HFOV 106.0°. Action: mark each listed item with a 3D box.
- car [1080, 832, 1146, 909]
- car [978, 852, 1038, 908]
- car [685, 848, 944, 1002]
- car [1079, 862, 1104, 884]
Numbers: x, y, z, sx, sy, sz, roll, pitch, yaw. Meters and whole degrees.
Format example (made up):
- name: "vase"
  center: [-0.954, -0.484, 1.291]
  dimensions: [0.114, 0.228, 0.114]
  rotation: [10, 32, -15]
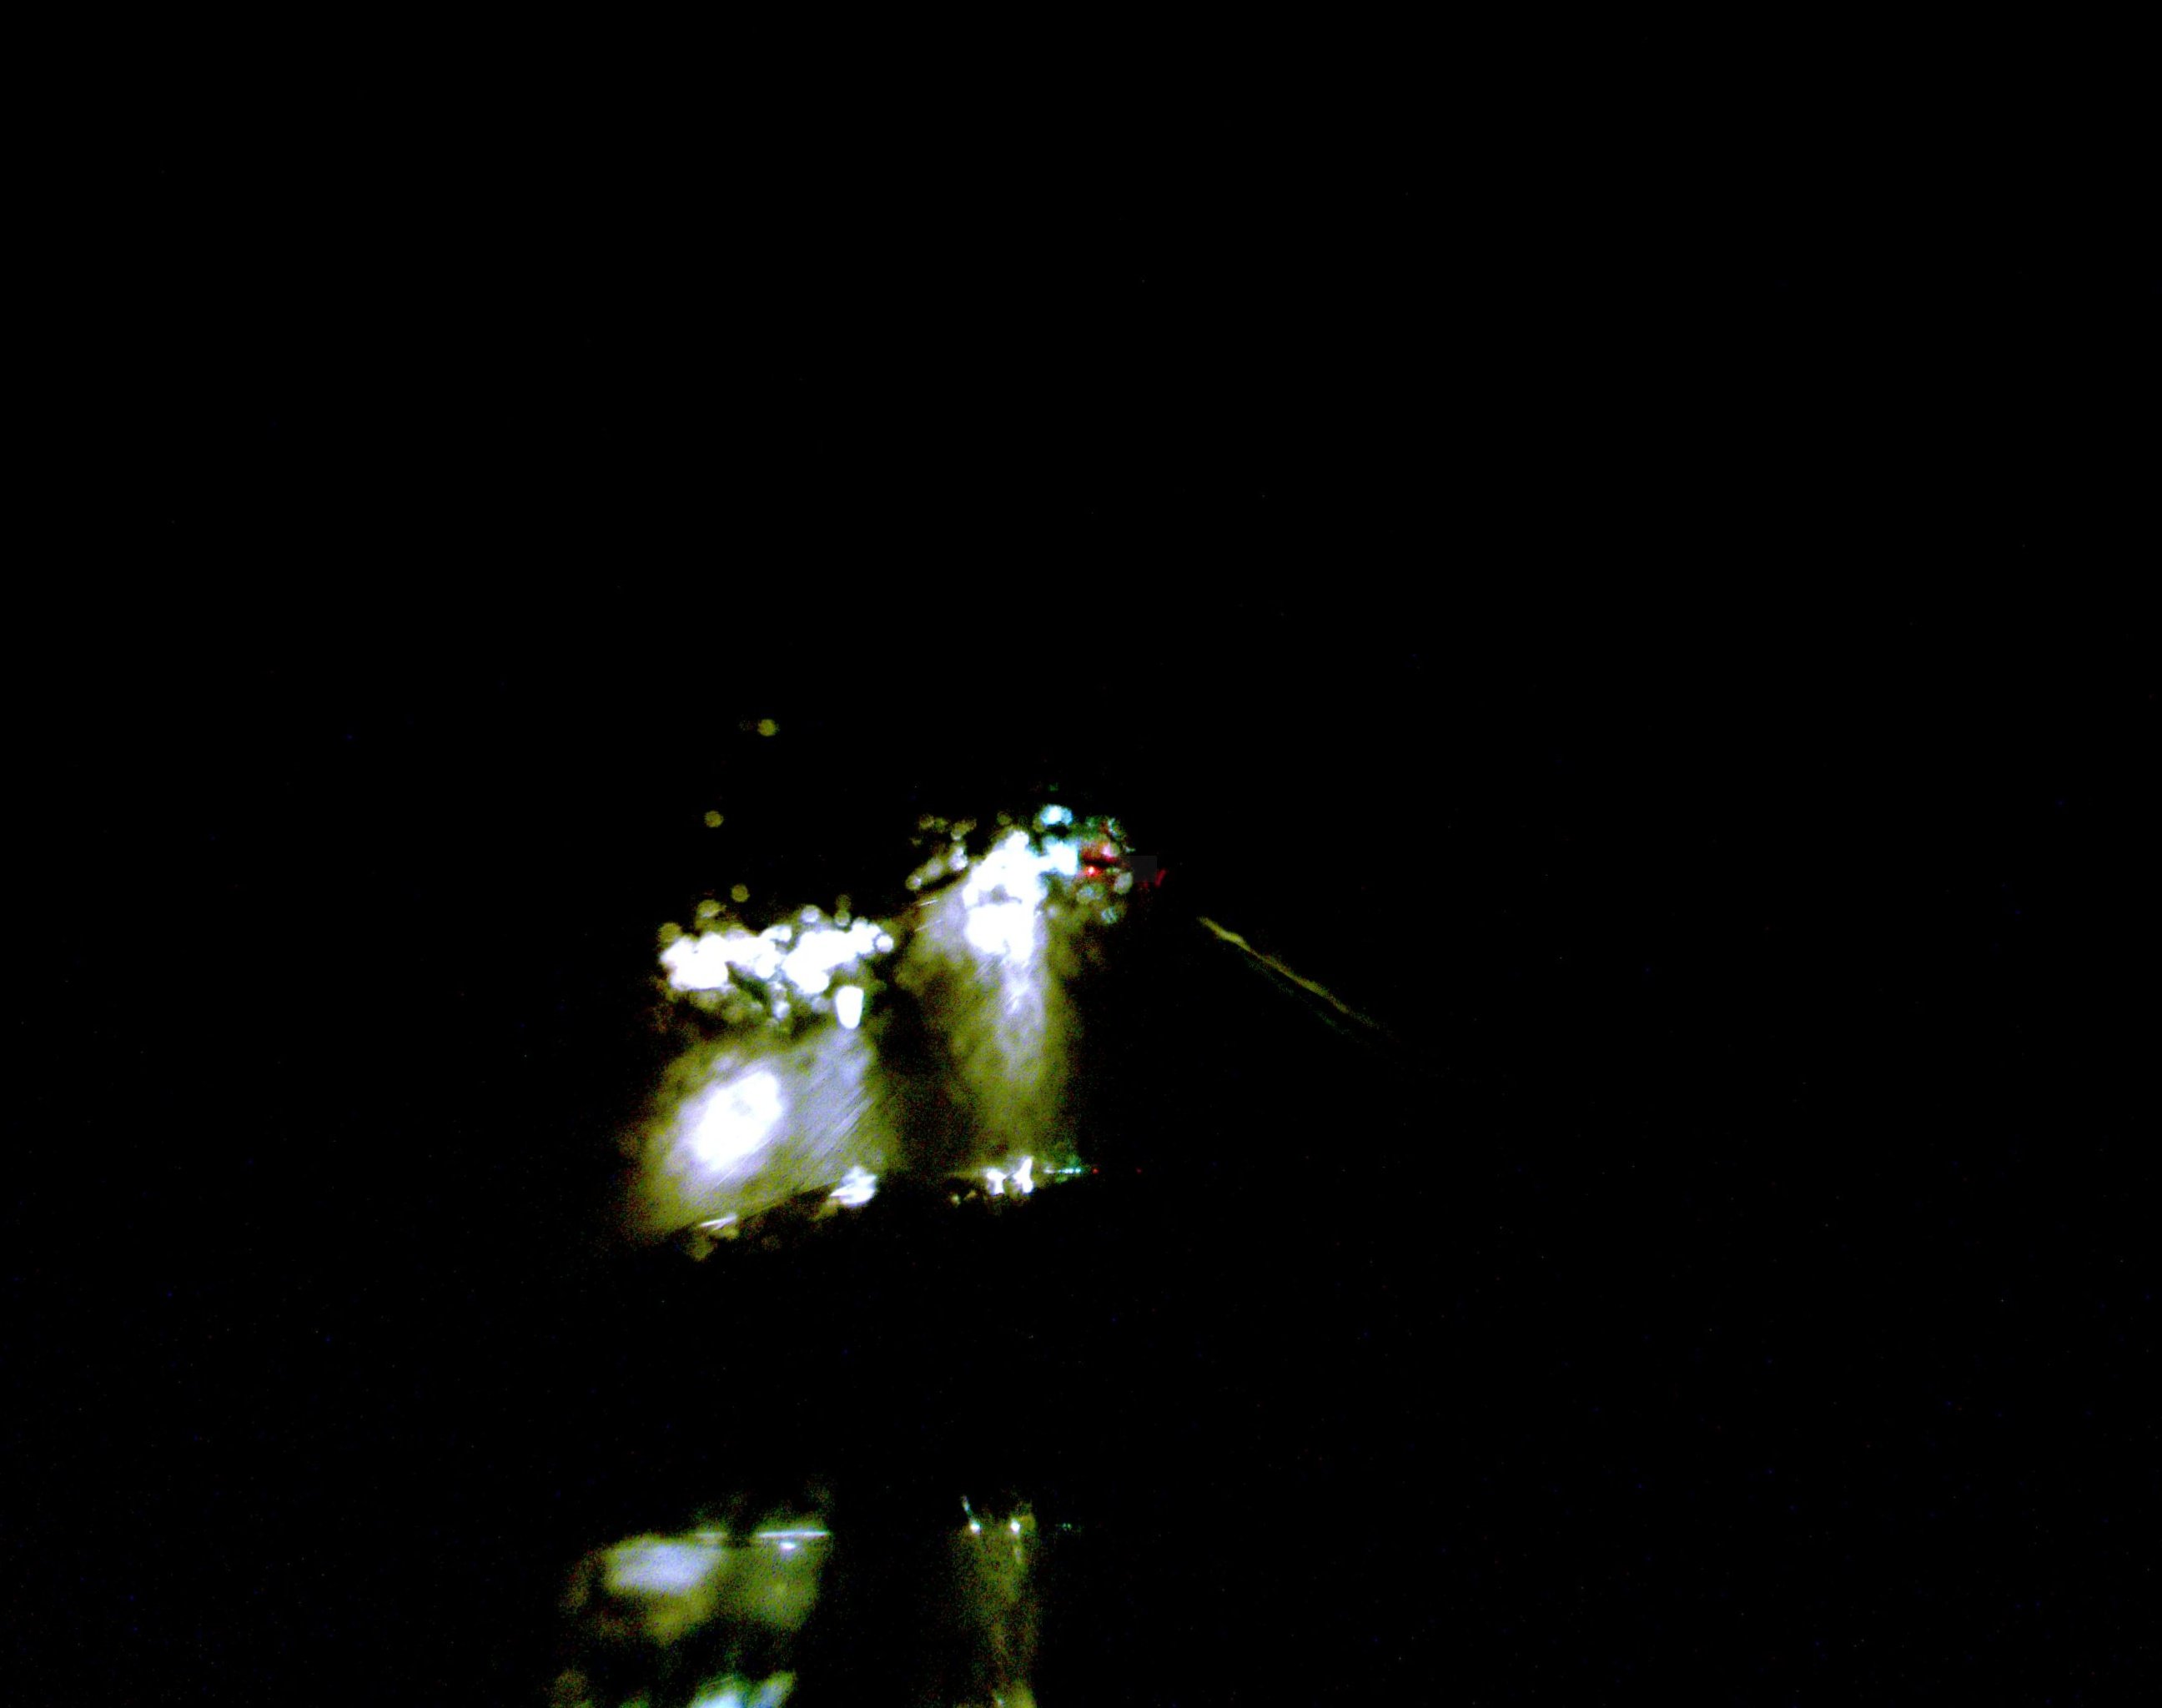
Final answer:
- name: "car"
  center: [1.179, 0.504, 29.951]
  dimensions: [2.172, 2.557, 4.511]
  rotation: [2, 1, 2]
- name: "car"
  center: [-2.698, 0.924, 30.816]
  dimensions: [1.830, 1.844, 4.001]
  rotation: [-2, 1, 0]
- name: "car"
  center: [-2.949, 0.729, 9.910]
  dimensions: [1.837, 1.505, 3.711]
  rotation: [-1, -1, 2]
- name: "car"
  center: [0.820, 1.387, 59.366]
  dimensions: [1.700, 1.505, 3.607]
  rotation: [-1, -1, 2]
